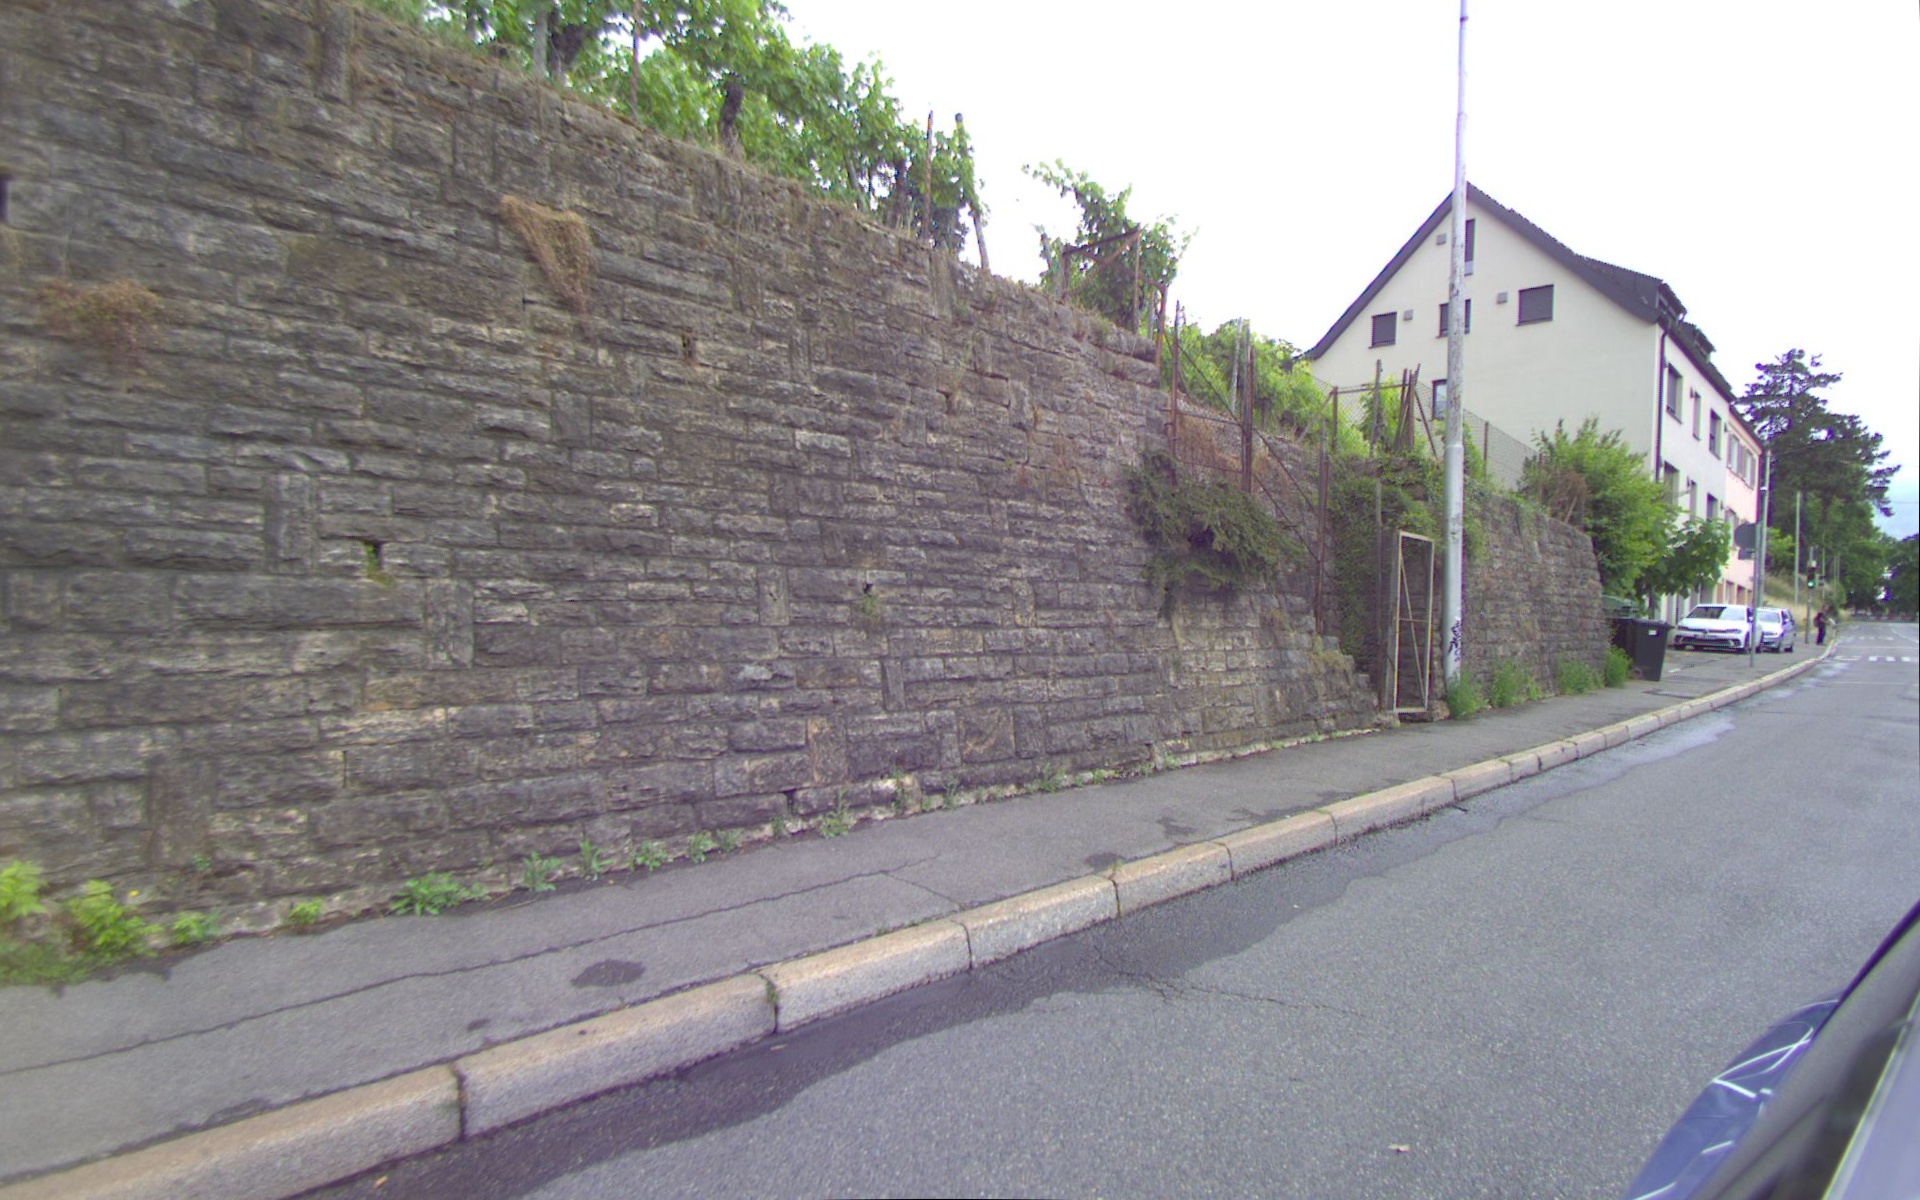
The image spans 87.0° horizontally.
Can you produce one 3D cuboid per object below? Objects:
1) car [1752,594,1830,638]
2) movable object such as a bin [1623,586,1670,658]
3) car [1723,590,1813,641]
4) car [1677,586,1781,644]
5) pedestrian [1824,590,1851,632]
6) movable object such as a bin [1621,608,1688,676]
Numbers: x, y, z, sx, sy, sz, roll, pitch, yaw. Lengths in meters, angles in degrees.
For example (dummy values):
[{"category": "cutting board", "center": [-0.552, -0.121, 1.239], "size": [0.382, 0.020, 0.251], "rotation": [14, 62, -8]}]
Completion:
[{"category": "car", "center": [31.973, 0.563, 38.906], "size": [4.180, 1.595, 1.904], "rotation": [-1, 0, -45]}, {"category": "movable object such as a bin", "center": [15.368, 0.467, 22.637], "size": [0.750, 1.562, 1.049], "rotation": [1, 0, 41]}, {"category": "car", "center": [26.661, 0.463, 33.352], "size": [4.177, 1.595, 1.729], "rotation": [0, 0, -43]}, {"category": "car", "center": [22.940, 0.399, 30.130], "size": [3.987, 1.595, 1.796], "rotation": [0, 0, -43]}, {"category": "pedestrian", "center": [36.828, 0.455, 42.482], "size": [0.683, 1.733, 0.735], "rotation": [1, 0, -39]}, {"category": "movable object such as a bin", "center": [12.157, 0.717, 17.716], "size": [0.860, 1.141, 0.810], "rotation": [1, 0, -43]}]
